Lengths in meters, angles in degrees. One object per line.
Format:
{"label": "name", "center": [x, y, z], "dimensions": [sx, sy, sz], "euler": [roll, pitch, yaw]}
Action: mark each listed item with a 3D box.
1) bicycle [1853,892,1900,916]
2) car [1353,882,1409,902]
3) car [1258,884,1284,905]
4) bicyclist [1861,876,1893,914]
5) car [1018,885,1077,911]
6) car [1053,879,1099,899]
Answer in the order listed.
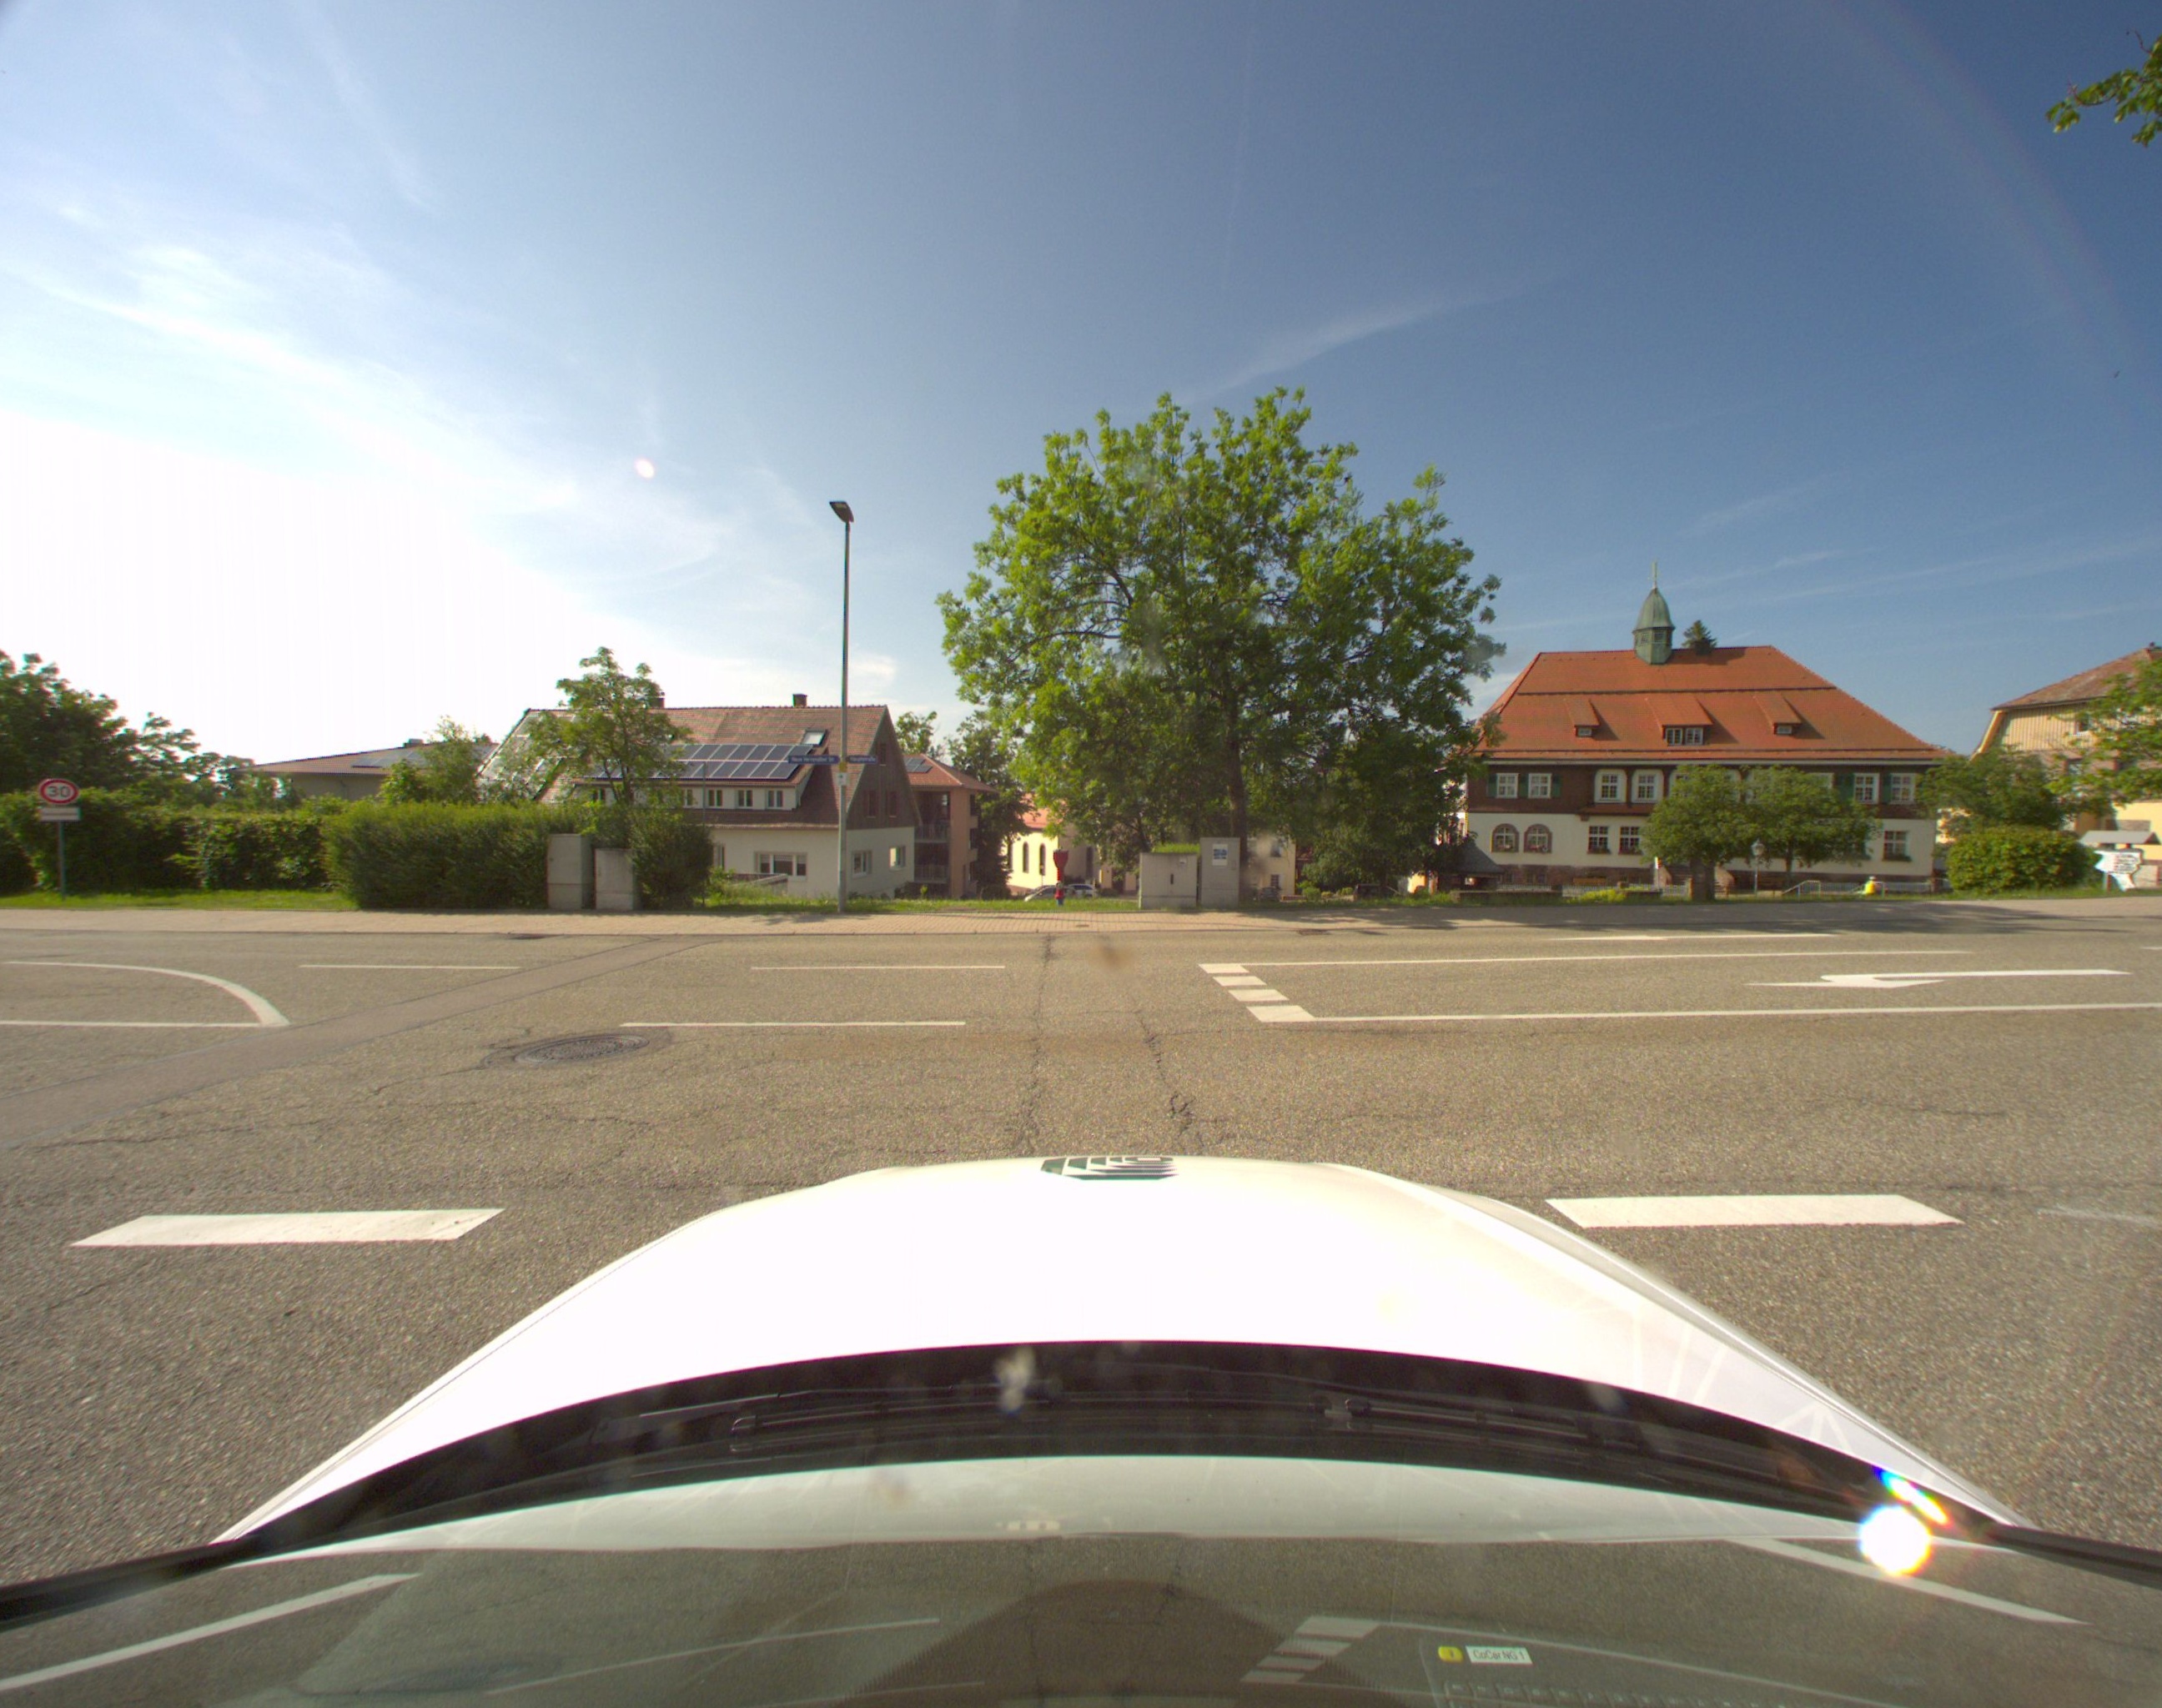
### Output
{"label": "bicycle", "center": [40.720, 2.558, 41.689], "dimensions": [1.711, 1.190, 0.540], "euler": [-1, -1, 10]}
{"label": "car", "center": [22.486, 2.869, 61.095], "dimensions": [3.746, 1.444, 1.720], "euler": [-1, -1, 14]}
{"label": "car", "center": [15.725, 3.350, 67.547], "dimensions": [1.699, 1.542, 3.791], "euler": [-1, -1, 6]}
{"label": "bicyclist", "center": [40.731, 2.097, 41.687], "dimensions": [0.988, 1.925, 0.584], "euler": [-1, -1, 11]}
{"label": "car", "center": [-2.398, 3.097, 57.785], "dimensions": [4.081, 1.758, 1.711], "euler": [-1, -1, -3]}
{"label": "car", "center": [-0.451, 2.956, 68.597], "dimensions": [3.765, 1.593, 1.711], "euler": [-1, -1, -4]}
